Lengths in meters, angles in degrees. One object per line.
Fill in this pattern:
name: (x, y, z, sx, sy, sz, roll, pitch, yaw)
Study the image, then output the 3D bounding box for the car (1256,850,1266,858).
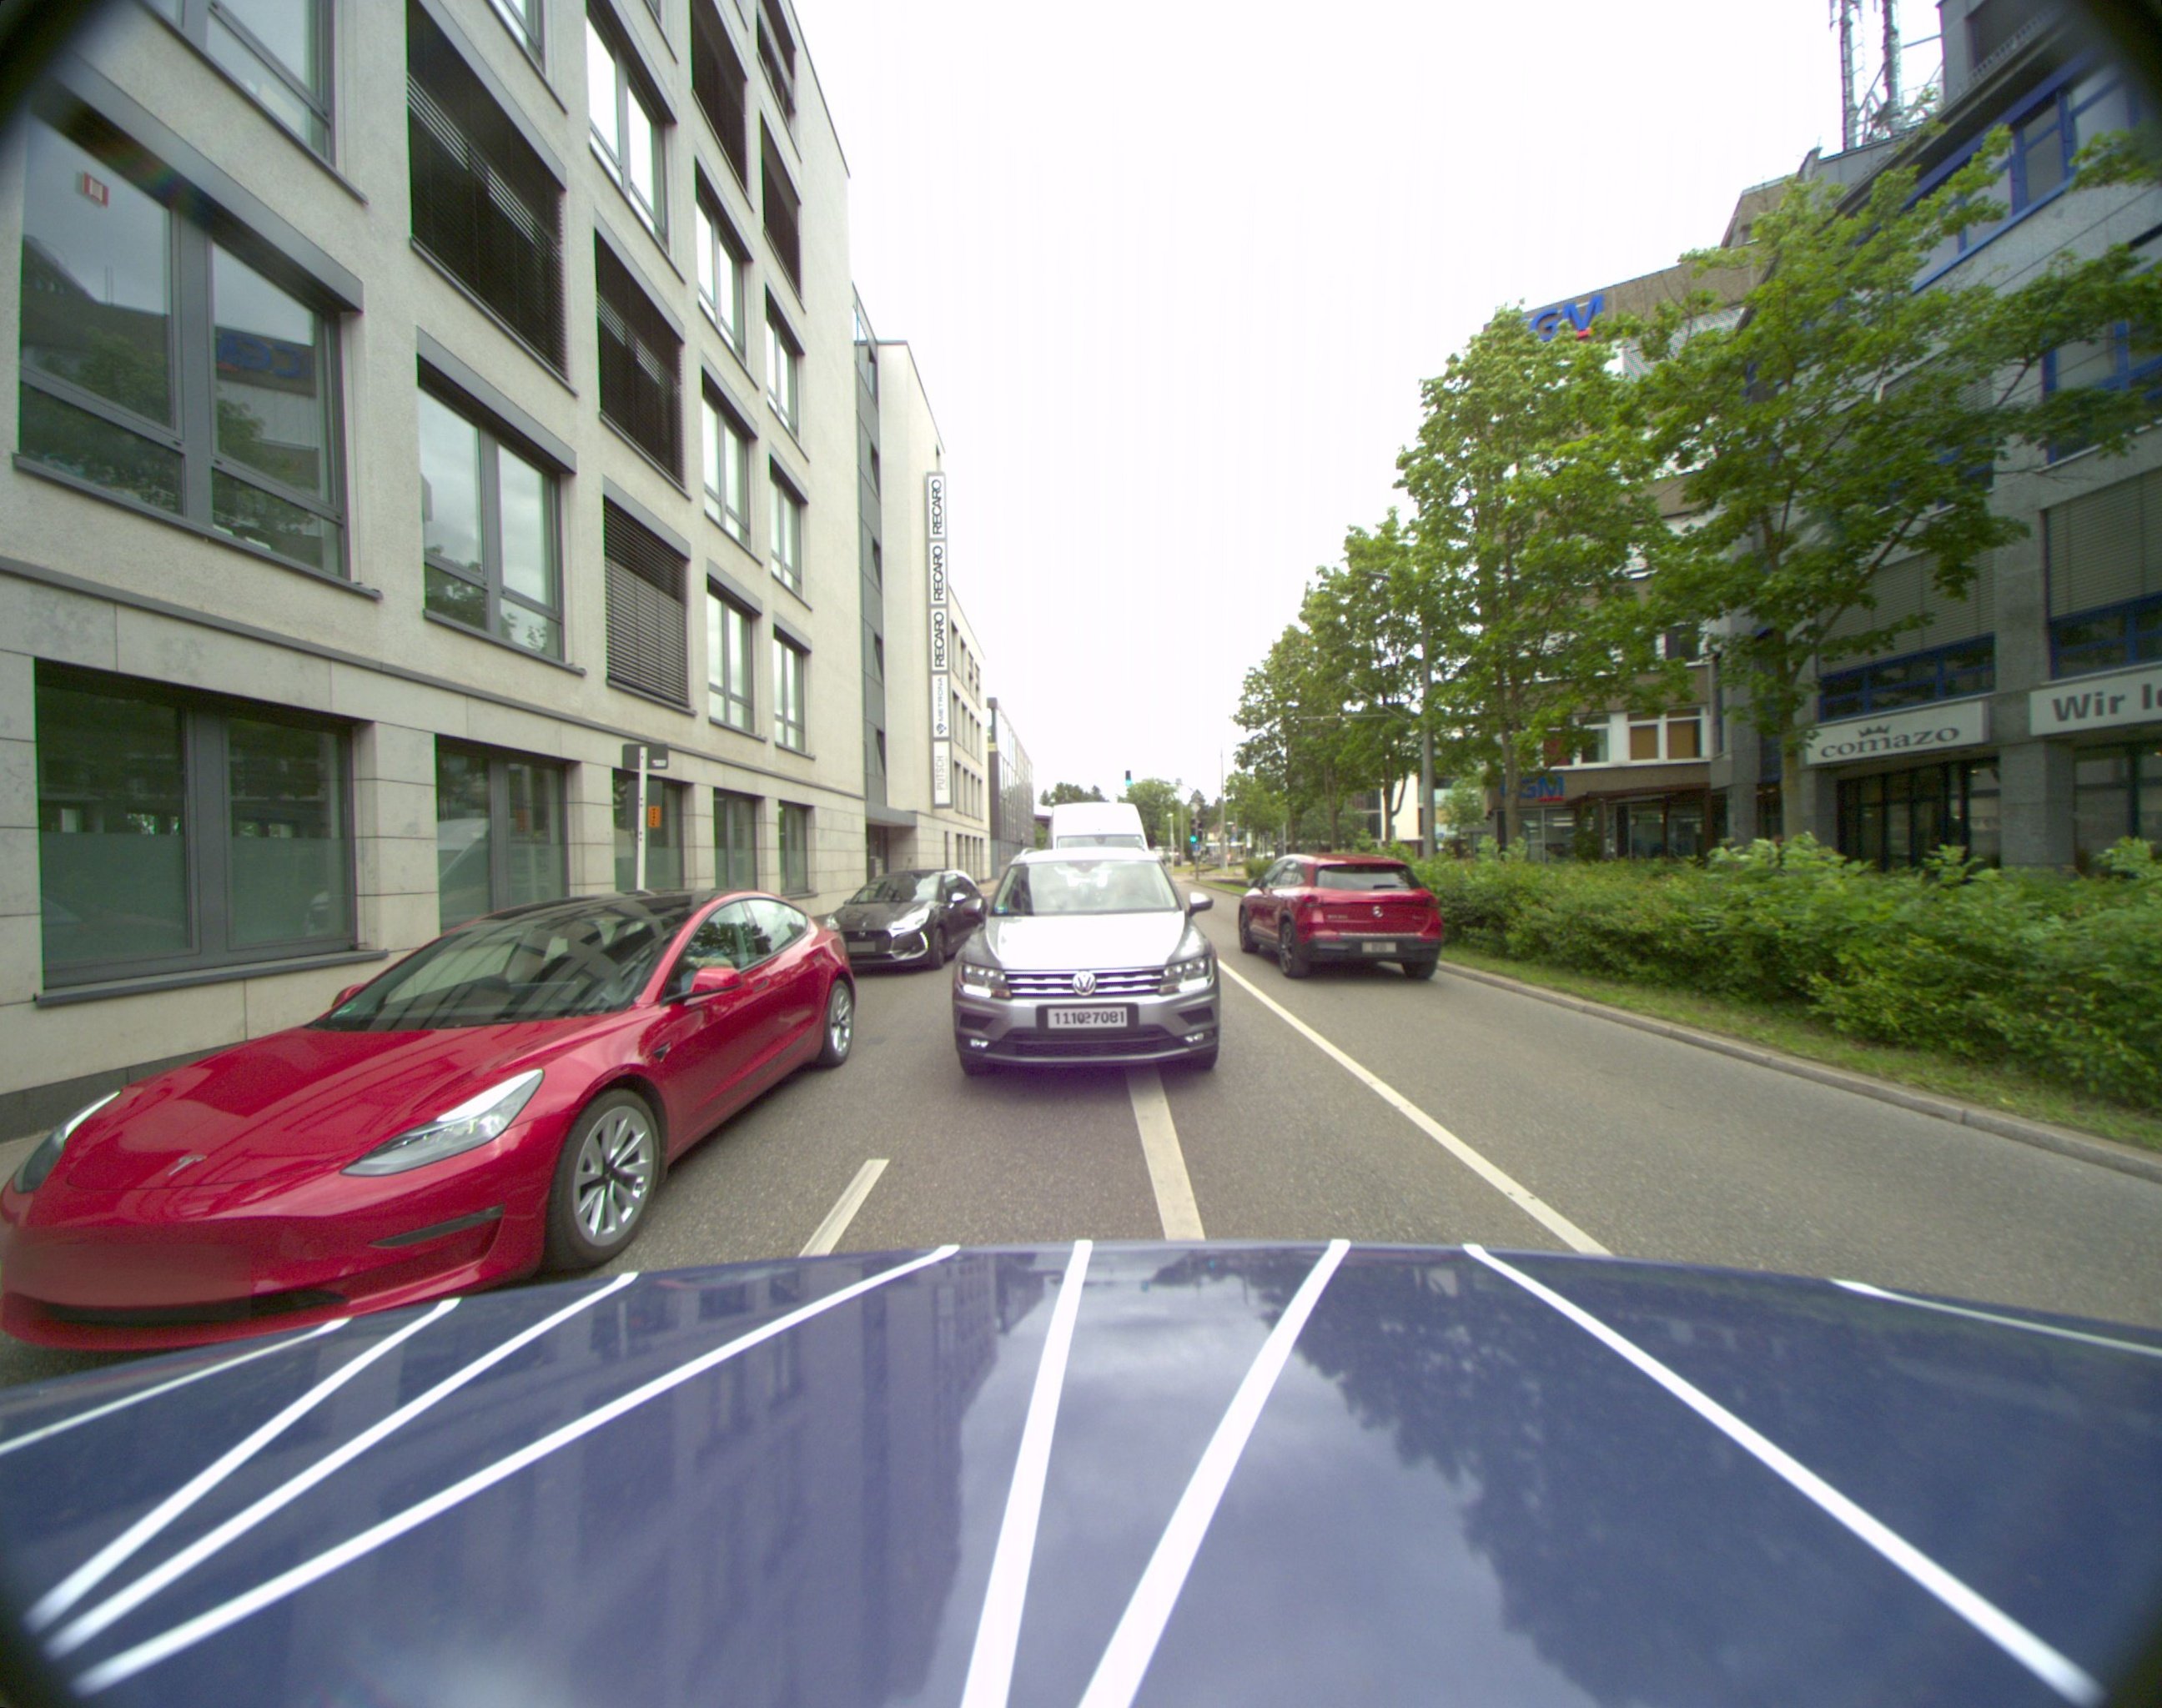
car: (42.120, -0.037, 177.964, 1.996, 1.888, 4.004, -2, 1, 15)

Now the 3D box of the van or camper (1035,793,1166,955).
van or camper: (0.268, 0.344, 16.143, 2.110, 2.674, 6.298, -3, 0, -1)

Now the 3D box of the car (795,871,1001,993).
car: (-2.685, 1.099, 12.189, 1.704, 1.452, 4.065, -3, 0, 9)

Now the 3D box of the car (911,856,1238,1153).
car: (-0.008, 0.892, 6.613, 1.833, 1.636, 4.326, -3, 0, 1)

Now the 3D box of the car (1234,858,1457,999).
car: (3.435, 0.864, 10.748, 1.754, 1.579, 4.135, 0, 0, 1)

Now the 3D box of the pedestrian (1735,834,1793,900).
pedestrian: (15.946, 0.299, 17.748, 0.700, 1.474, 0.678, -3, 0, -15)

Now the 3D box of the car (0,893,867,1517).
car: (-2.783, 1.085, 4.279, 1.878, 1.410, 4.442, -3, 0, -1)
